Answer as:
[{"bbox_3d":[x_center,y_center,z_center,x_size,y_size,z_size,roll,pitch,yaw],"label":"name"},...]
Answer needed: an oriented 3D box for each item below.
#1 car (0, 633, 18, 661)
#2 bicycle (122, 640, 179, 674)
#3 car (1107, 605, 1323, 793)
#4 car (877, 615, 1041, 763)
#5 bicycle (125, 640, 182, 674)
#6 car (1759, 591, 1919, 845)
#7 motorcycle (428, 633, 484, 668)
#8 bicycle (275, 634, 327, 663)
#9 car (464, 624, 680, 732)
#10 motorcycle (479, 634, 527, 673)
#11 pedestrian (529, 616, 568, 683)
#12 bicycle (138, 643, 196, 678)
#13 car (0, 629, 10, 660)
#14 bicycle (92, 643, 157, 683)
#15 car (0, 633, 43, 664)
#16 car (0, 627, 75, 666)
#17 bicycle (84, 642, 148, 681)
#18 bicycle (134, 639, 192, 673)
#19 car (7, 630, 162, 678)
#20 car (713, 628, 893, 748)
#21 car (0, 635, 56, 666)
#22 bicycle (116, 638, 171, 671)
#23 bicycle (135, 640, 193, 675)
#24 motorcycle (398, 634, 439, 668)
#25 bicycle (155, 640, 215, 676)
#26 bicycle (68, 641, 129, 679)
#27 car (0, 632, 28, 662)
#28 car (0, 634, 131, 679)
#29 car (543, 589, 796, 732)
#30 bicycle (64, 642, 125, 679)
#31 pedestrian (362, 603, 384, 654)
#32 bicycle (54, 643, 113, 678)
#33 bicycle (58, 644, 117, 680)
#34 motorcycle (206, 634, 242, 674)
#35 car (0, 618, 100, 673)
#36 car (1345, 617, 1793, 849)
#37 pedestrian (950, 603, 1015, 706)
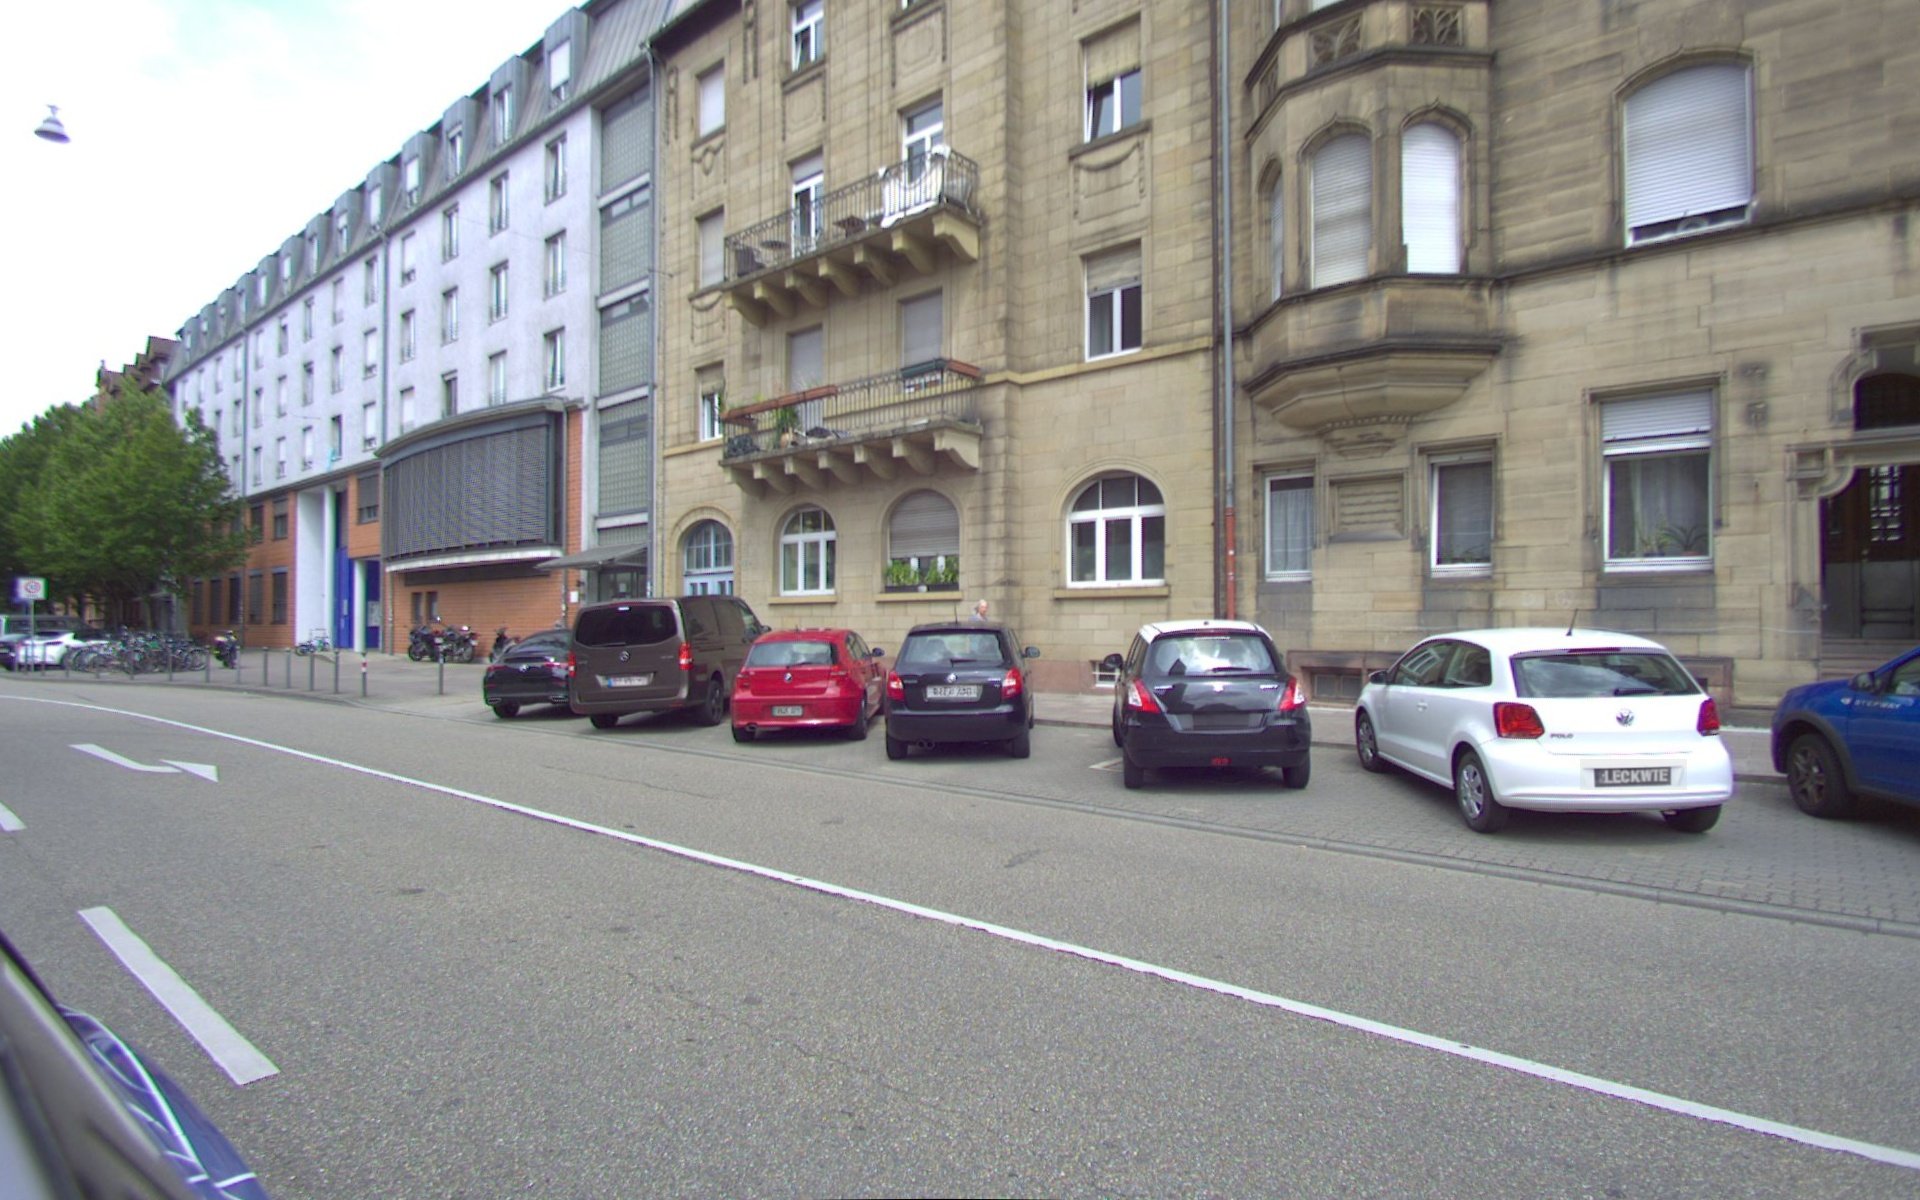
[{"bbox_3d":[-55.169,2.653,56.233,1.671,1.580,3.996,-1,-2,7],"label":"car"},{"bbox_3d":[-26.273,1.840,32.856,0.402,1.034,1.390,-2,-2,43],"label":"bicycle"},{"bbox_3d":[2.467,0.890,10.641,1.776,1.576,4.001,-1,-2,9],"label":"car"},{"bbox_3d":[0.133,0.974,12.459,1.611,1.514,3.989,-1,-2,6],"label":"car"},{"bbox_3d":[-25.908,1.814,32.537,0.402,1.034,1.390,-2,-2,43],"label":"bicycle"},{"bbox_3d":[7.093,0.755,6.108,1.703,1.664,3.772,-1,-2,5],"label":"car"},{"bbox_3d":[-15.745,1.576,31.576,1.959,1.057,0.579,-2,-1,30],"label":"motorcycle"},{"bbox_3d":[-26.112,1.904,40.091,1.590,0.933,0.933,-6,2,-37],"label":"bicycle"},{"bbox_3d":[-6.635,1.267,17.949,1.874,1.420,4.669,-2,1,2],"label":"car"},{"bbox_3d":[-13.090,1.515,28.987,1.793,1.057,0.577,-2,-1,42],"label":"motorcycle"},{"bbox_3d":[-9.366,1.116,23.050,0.507,1.497,0.655,-1,-2,31],"label":"pedestrian"},{"bbox_3d":[-24.528,1.858,31.319,0.402,1.034,1.390,-2,-2,43],"label":"bicycle"},{"bbox_3d":[-59.750,2.693,60.607,1.671,1.872,4.035,-1,-2,7],"label":"car"},{"bbox_3d":[-24.216,1.816,29.357,0.402,1.046,1.391,-2,0,43],"label":"bicycle"},{"bbox_3d":[-47.111,2.359,48.908,1.671,1.465,3.996,-1,-2,7],"label":"car"},{"bbox_3d":[-41.183,2.019,43.981,1.692,1.627,3.996,-1,-2,7],"label":"car"},{"bbox_3d":[-24.921,1.801,29.907,0.402,1.046,1.391,-2,0,43],"label":"bicycle"},{"bbox_3d":[-25.239,1.769,32.063,0.402,1.034,1.390,-2,-2,43],"label":"bicycle"},{"bbox_3d":[-30.405,1.845,35.296,1.585,1.557,3.993,-1,-2,10],"label":"car"},{"bbox_3d":[-2.014,1.115,14.120,1.772,1.420,4.009,0,-2,2],"label":"car"},{"bbox_3d":[-45.354,2.385,47.715,1.577,1.400,3.996,-1,-2,7],"label":"car"},{"bbox_3d":[-27.202,1.819,33.746,0.402,1.034,1.390,-2,-2,43],"label":"bicycle"},{"bbox_3d":[-24.916,1.803,31.692,0.402,1.034,1.390,-2,-2,43],"label":"bicycle"},{"bbox_3d":[-17.677,1.646,33.033,1.655,1.057,0.577,-2,-1,40],"label":"motorcycle"},{"bbox_3d":[-23.463,1.748,30.655,0.402,1.034,1.390,-2,-2,43],"label":"bicycle"},{"bbox_3d":[-26.499,1.831,31.141,0.402,1.046,1.391,-2,0,43],"label":"bicycle"},{"bbox_3d":[-53.114,2.564,54.608,1.671,1.580,3.996,-1,-2,7],"label":"car"},{"bbox_3d":[-32.673,1.985,36.484,1.697,1.480,4.307,-1,-2,7],"label":"car"},{"bbox_3d":[-4.378,0.895,16.347,2.096,1.924,5.260,-1,-2,7],"label":"car"},{"bbox_3d":[-26.983,1.868,31.562,0.402,1.034,1.391,-2,0,43],"label":"bicycle"},{"bbox_3d":[-23.581,1.144,40.650,0.718,2.029,0.785,1,-2,-29],"label":"pedestrian"},{"bbox_3d":[-28.531,1.969,32.948,0.402,1.034,1.391,-2,0,43],"label":"bicycle"},{"bbox_3d":[-27.927,1.964,32.411,0.402,1.034,1.391,-2,0,43],"label":"bicycle"},{"bbox_3d":[-23.102,1.683,31.769,1.779,1.181,0.577,-2,-1,43],"label":"motorcycle"},{"bbox_3d":[-37.033,1.764,40.293,1.841,2.013,3.993,-1,0,10],"label":"car"},{"bbox_3d":[4.669,0.916,8.477,1.720,1.493,3.680,-1,-2,5],"label":"car"},{"bbox_3d":[0.371,0.873,16.556,0.678,1.607,0.783,-2,0,41],"label":"pedestrian"}]
